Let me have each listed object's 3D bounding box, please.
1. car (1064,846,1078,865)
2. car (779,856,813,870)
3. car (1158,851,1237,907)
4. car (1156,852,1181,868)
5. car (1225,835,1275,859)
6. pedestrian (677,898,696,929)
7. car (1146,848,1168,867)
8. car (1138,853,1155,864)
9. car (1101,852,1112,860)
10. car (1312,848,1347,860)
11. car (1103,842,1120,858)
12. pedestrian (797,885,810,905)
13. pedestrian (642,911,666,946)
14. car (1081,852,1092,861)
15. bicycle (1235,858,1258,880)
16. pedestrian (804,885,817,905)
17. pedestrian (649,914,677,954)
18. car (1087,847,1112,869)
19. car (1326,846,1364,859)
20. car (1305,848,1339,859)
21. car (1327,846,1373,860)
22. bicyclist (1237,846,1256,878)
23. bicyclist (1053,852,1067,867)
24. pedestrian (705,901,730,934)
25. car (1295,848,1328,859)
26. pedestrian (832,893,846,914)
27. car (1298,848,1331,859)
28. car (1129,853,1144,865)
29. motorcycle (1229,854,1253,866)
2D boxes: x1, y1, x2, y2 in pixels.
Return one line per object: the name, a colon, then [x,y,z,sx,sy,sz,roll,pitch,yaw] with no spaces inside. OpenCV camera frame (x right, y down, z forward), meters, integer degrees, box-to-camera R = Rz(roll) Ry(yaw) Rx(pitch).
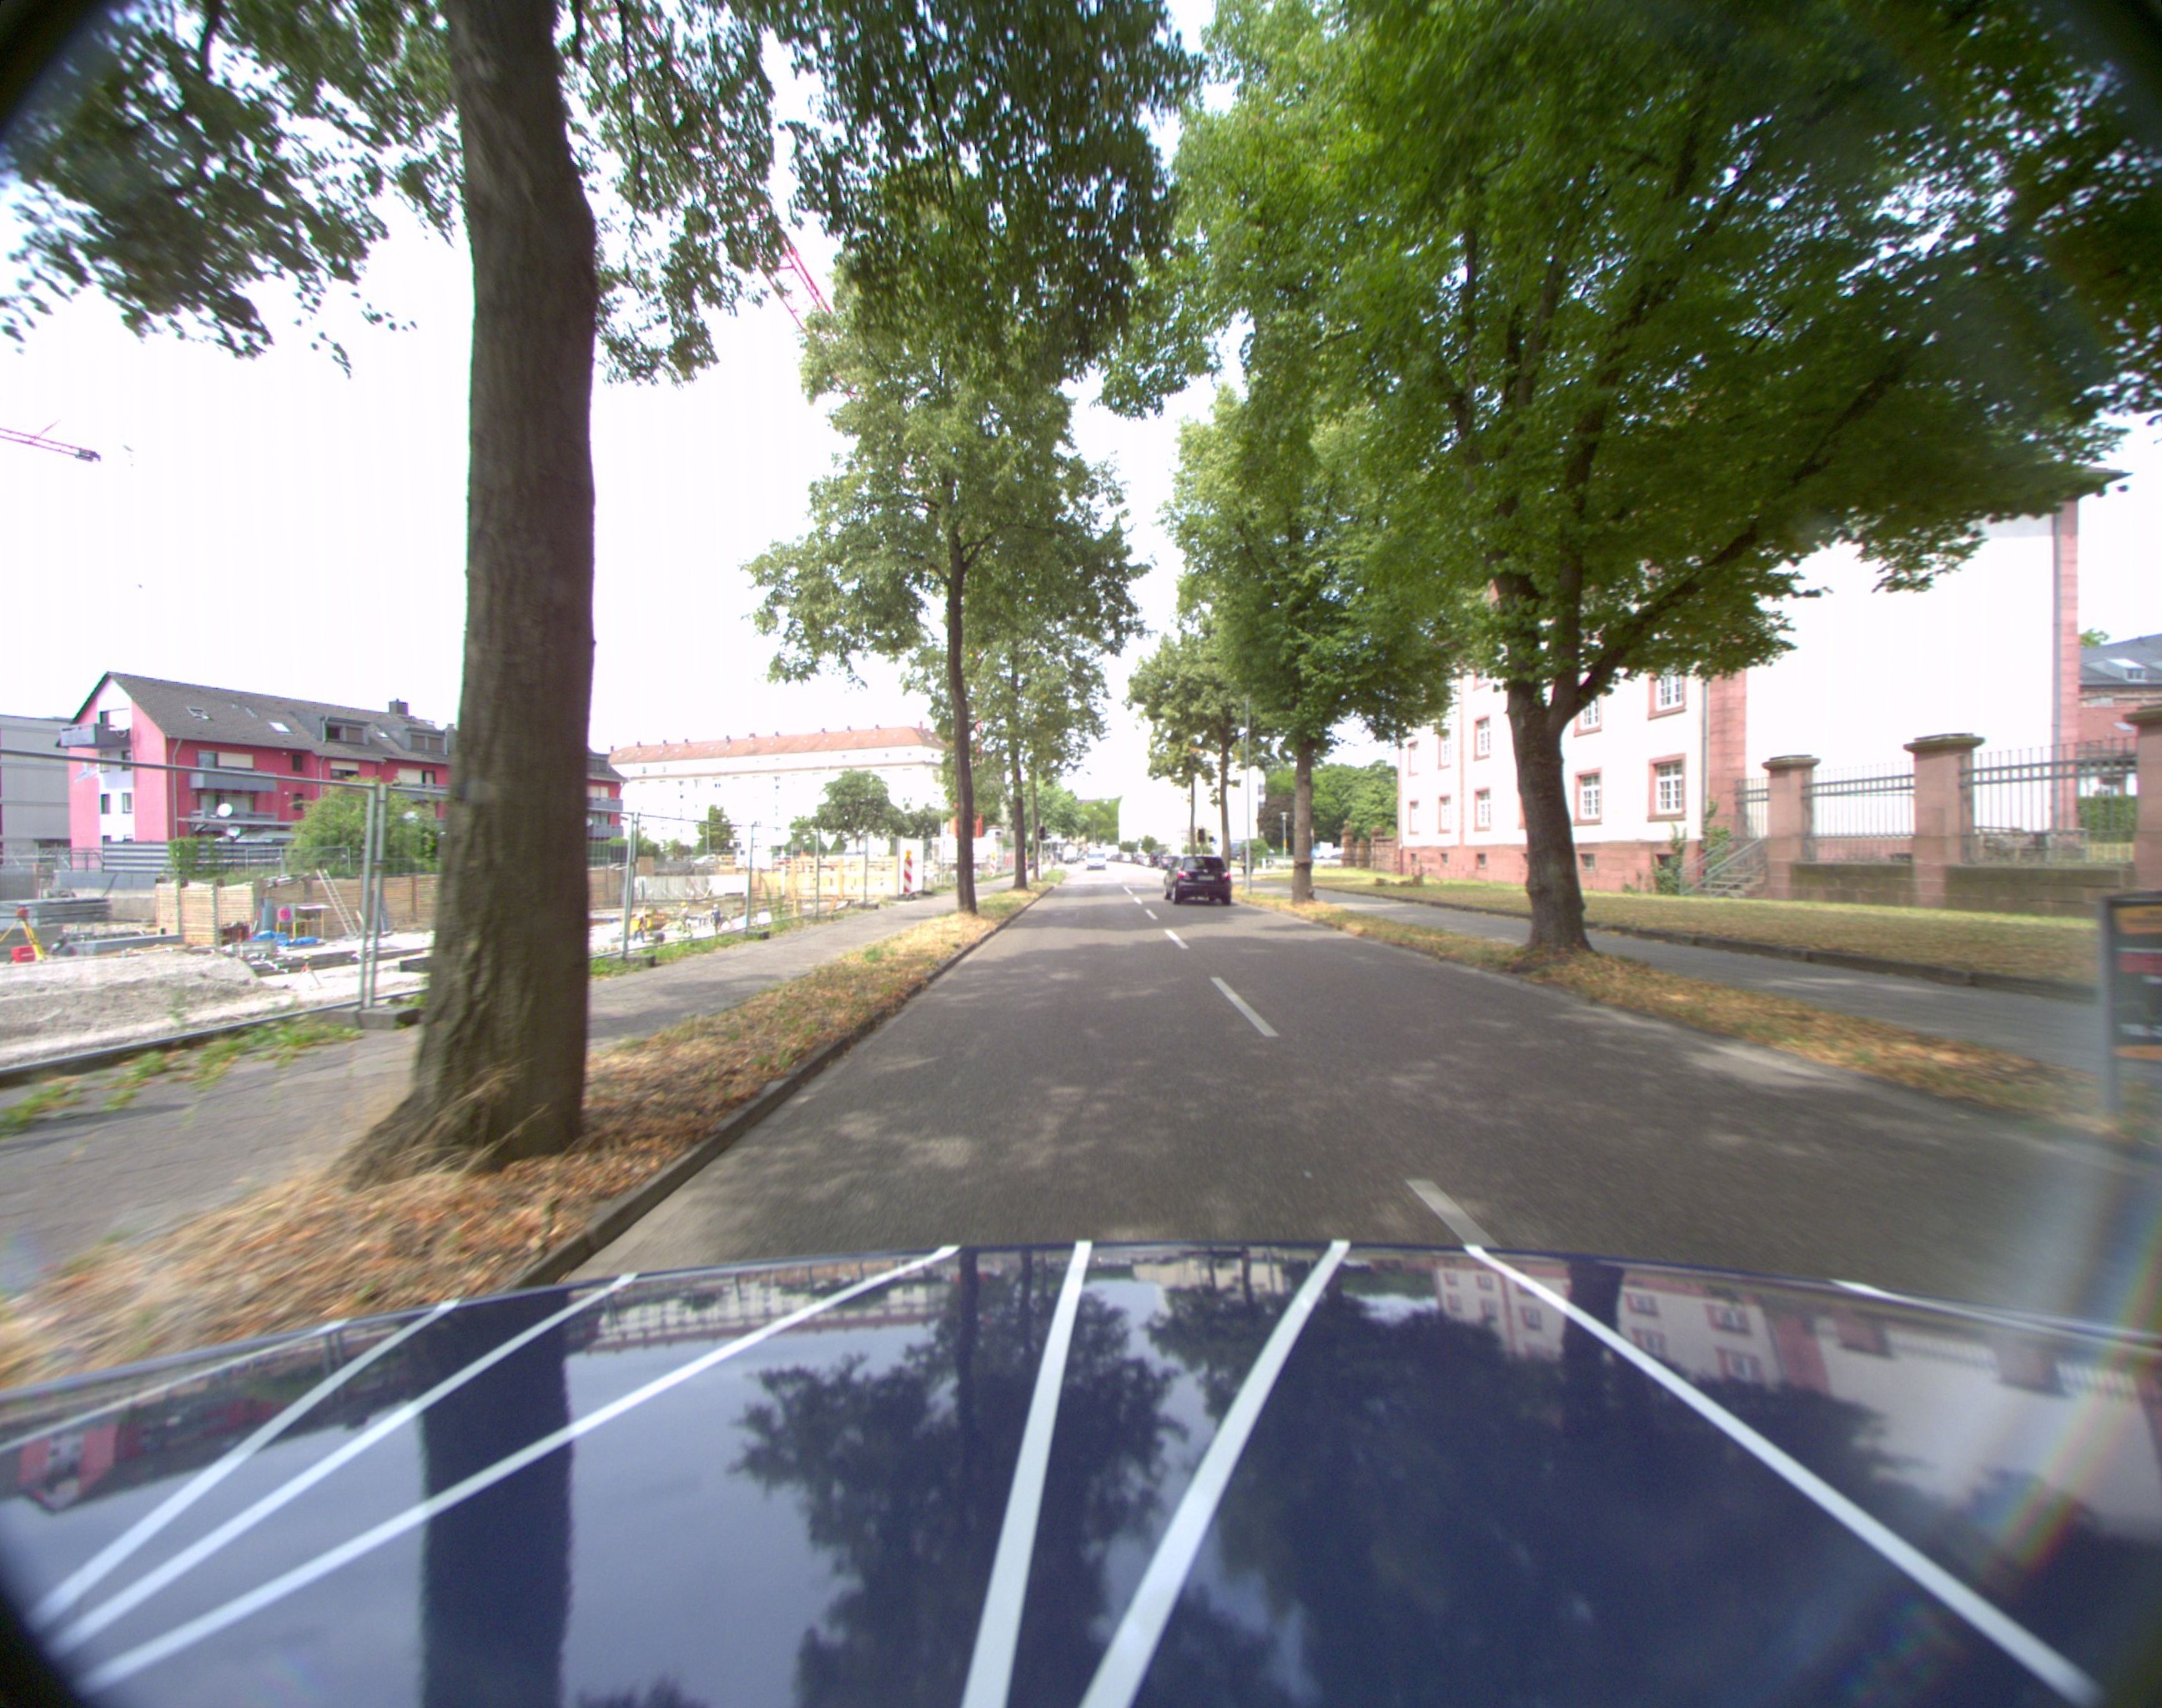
car: [-1.508,0.198,114.993,1.900,2.587,4.903,-3,1,-2]
car: [-35.801,1.120,95.494,1.796,1.580,3.924,-3,1,21]
car: [3.685,0.750,24.826,1.776,1.649,4.256,1,0,-2]
car: [8.609,0.544,75.250,1.827,1.464,4.297,-3,0,-1]
car: [19.822,-0.795,89.400,5.323,2.537,2.355,-3,1,2]
pedestrian: [-22.773,3.432,43.887,0.842,1.712,0.722,2,1,43]
car: [8.549,0.425,85.671,1.953,1.992,4.843,-2,0,0]
car: [8.347,0.556,96.808,1.692,1.448,4.262,-1,0,-2]
car: [5.397,0.436,160.483,1.853,1.623,4.217,1,1,-2]
car: [32.422,-0.018,99.154,3.997,1.474,1.970,-1,1,1]
car: [5.915,-0.740,148.439,2.622,3.040,7.112,1,0,-2]
pedestrian: [-24.550,3.615,67.205,0.842,1.712,0.722,2,1,38]
pedestrian: [-22.290,3.867,39.699,0.718,1.712,0.846,2,1,35]
car: [0.971,0.510,147.137,1.949,1.656,3.999,1,1,-2]
bicycle: [8.968,0.812,41.176,0.724,1.089,2.151,-4,0,1]
pedestrian: [-24.203,3.623,67.949,0.842,1.712,0.722,2,1,38]
pedestrian: [-19.305,3.687,35.083,0.843,1.712,0.721,1,1,17]
car: [1.686,0.335,71.072,1.999,2.002,3.999,1,1,-2]
car: [32.676,-0.197,94.202,4.166,1.474,1.616,-1,1,0]
car: [32.290,-0.070,101.743,3.997,1.474,1.857,-1,1,0]
car: [32.421,-0.141,91.678,4.703,1.654,2.331,1,0,2]
bicyclist: [8.920,0.424,41.017,0.724,1.646,0.958,-4,0,1]
bicyclist: [-2.059,0.542,74.421,1.078,1.404,0.716,-3,-2,33]
pedestrian: [-20.144,3.509,42.124,0.842,1.712,0.986,2,1,43]
car: [32.455,-0.117,106.956,3.997,1.474,1.982,-1,1,1]
pedestrian: [-20.006,4.080,62.788,0.842,1.712,0.722,2,1,38]
car: [32.070,-0.104,104.543,3.997,1.474,1.982,-1,1,1]
car: [7.904,0.699,108.216,1.626,1.565,3.998,-1,0,-4]
motorcycle: [15.220,0.588,72.291,2.095,1.135,0.725,1,1,5]
